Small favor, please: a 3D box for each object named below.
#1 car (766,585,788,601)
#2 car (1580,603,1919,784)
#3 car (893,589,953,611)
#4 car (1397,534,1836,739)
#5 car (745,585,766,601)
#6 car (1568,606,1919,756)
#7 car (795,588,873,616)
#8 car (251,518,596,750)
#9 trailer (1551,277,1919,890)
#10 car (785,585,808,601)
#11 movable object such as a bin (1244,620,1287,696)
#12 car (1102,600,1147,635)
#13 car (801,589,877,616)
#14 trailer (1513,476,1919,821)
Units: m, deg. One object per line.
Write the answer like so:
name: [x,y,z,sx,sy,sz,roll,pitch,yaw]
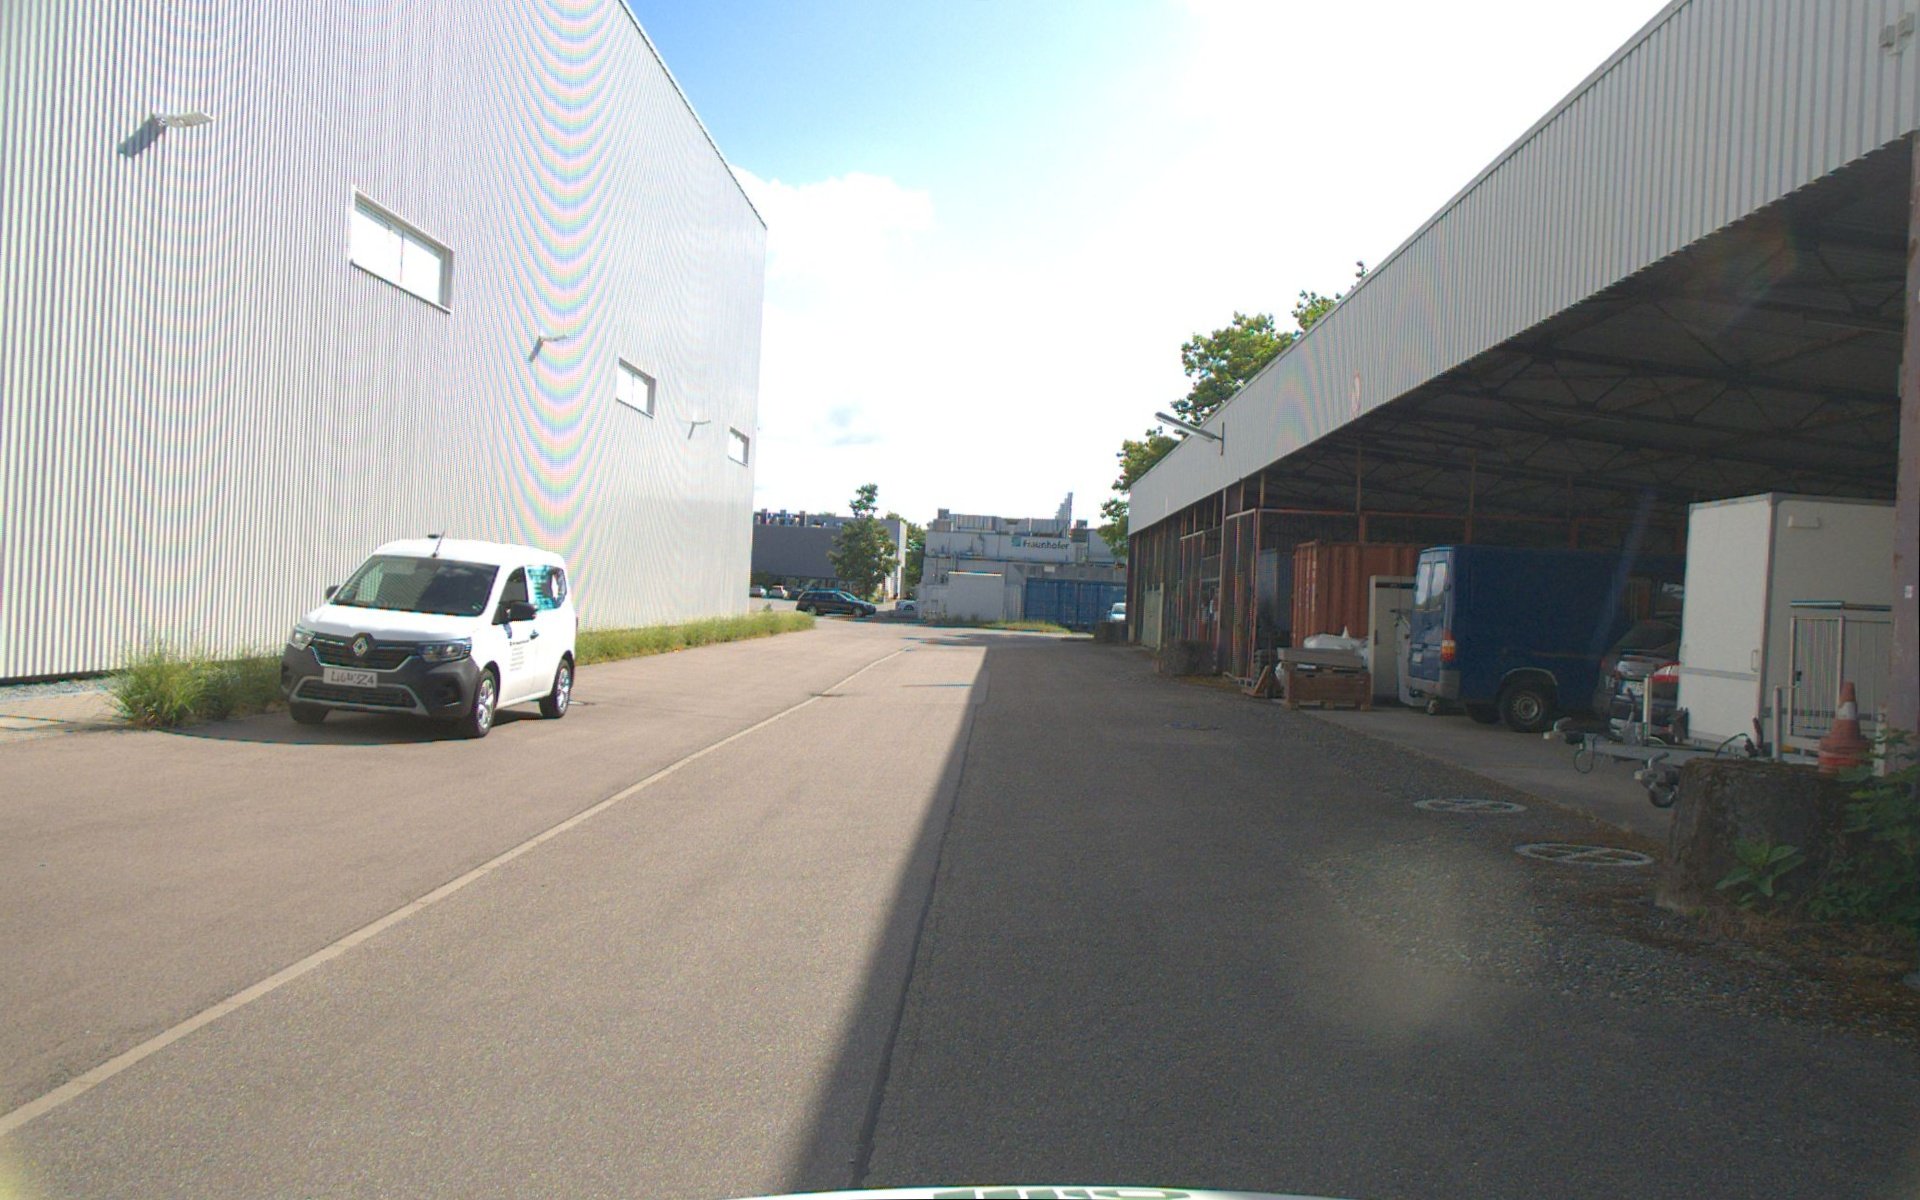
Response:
car: [-21.681,-0.821,196.211,2.148,1.766,4.000,1,0,1]
car: [8.267,0.857,15.474,4.241,1.522,1.777,2,0,-1]
car: [-2.826,0.012,126.335,4.432,1.534,1.909,2,0,2]
car: [8.421,0.446,21.568,4.876,2.366,2.000,2,0,1]
car: [-24.221,-0.827,195.909,1.952,1.766,4.000,1,0,1]
car: [9.132,0.887,18.590,3.908,1.498,1.787,2,0,-4]
car: [-7.506,0.126,98.807,4.431,1.534,1.909,2,0,3]
car: [-5.146,0.293,16.562,1.852,1.877,4.359,4,0,1]
trailer: [9.125,0.037,10.275,9.830,3.272,2.854,2,0,1]
car: [-19.214,-0.828,194.458,2.148,1.766,4.000,1,0,1]
movable object such as a bin: [5.035,0.944,27.304,0.569,1.185,1.239,1,0,5]
car: [8.500,0.890,85.774,1.952,1.613,4.173,2,2,1]
car: [-7.467,0.144,102.045,4.431,1.534,1.909,2,0,3]
trailer: [6.963,0.379,12.854,4.711,2.433,1.828,2,0,6]
